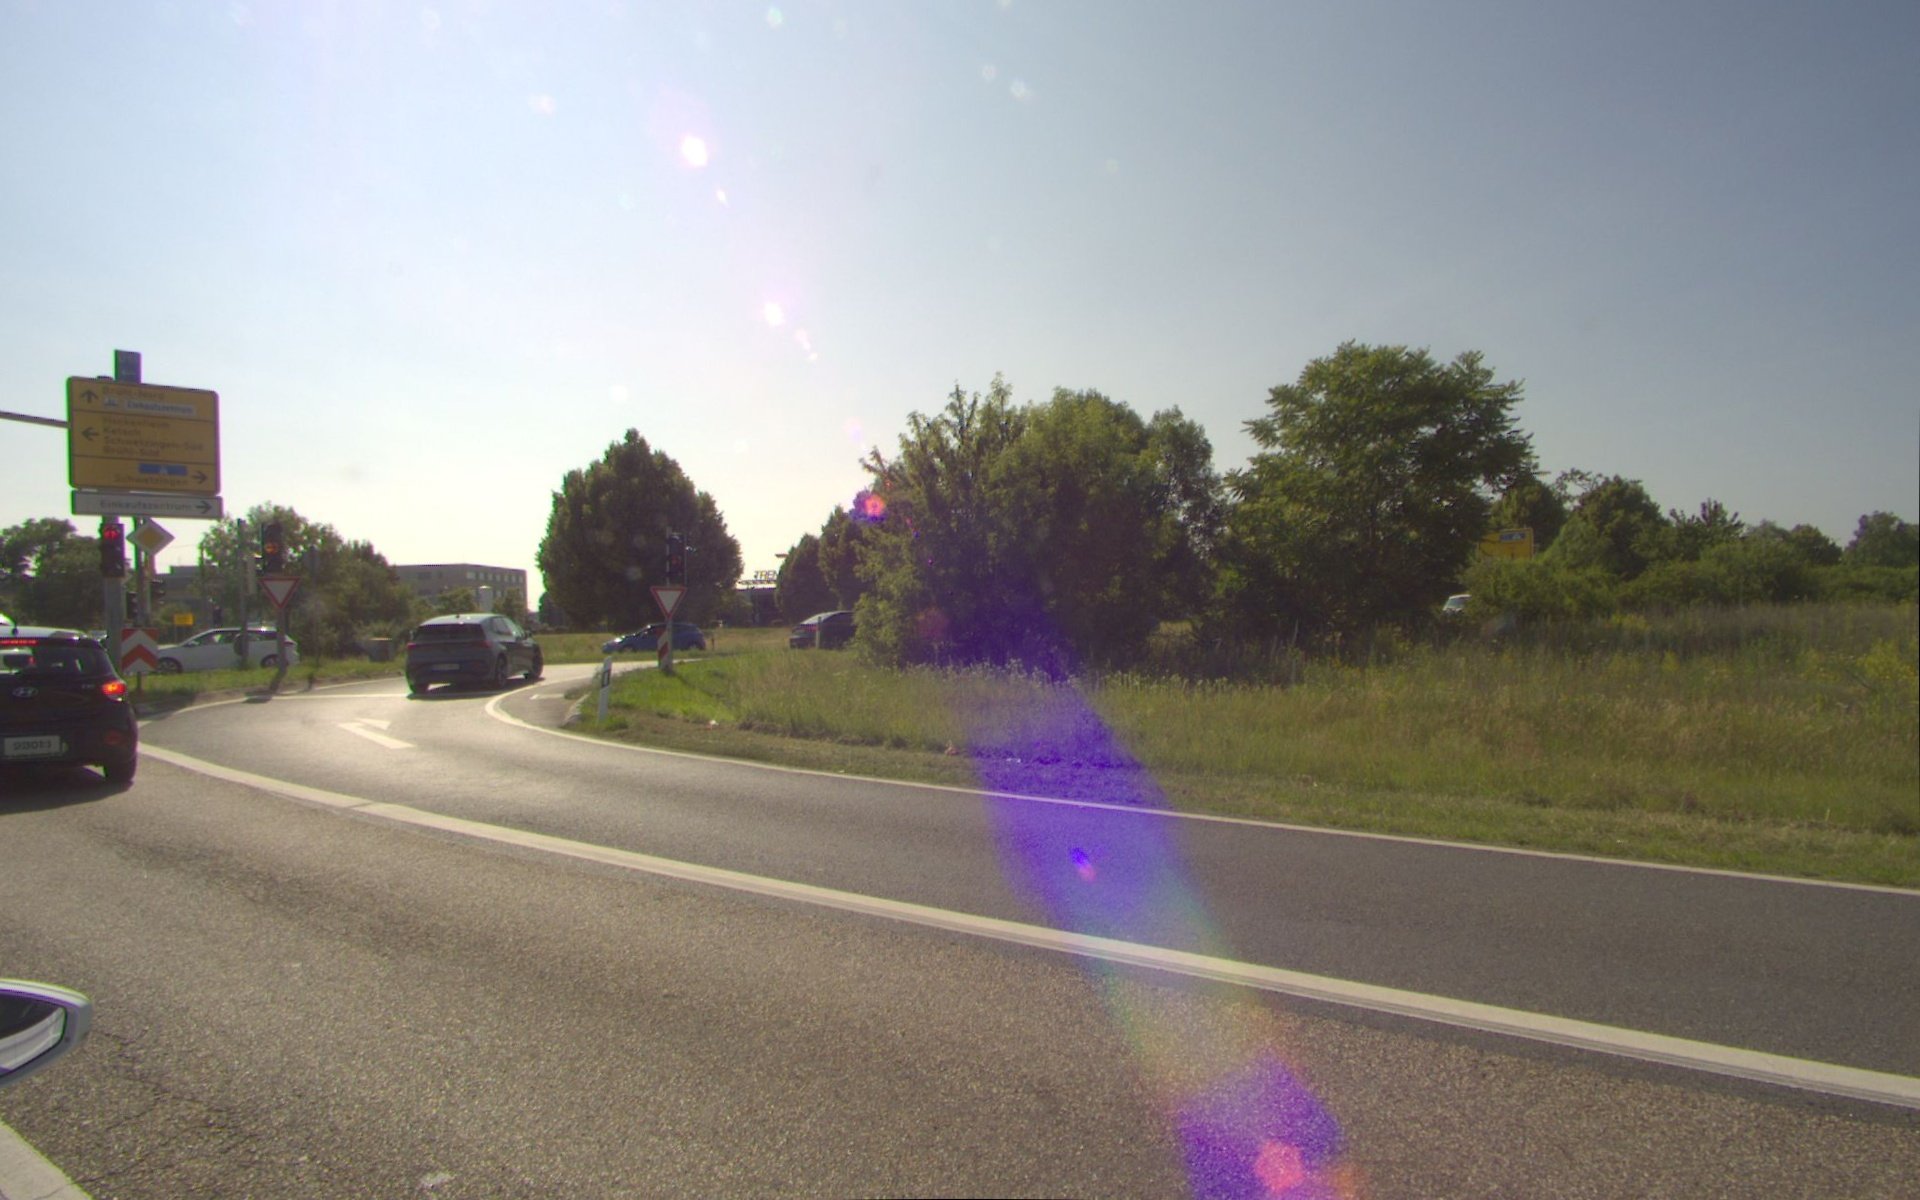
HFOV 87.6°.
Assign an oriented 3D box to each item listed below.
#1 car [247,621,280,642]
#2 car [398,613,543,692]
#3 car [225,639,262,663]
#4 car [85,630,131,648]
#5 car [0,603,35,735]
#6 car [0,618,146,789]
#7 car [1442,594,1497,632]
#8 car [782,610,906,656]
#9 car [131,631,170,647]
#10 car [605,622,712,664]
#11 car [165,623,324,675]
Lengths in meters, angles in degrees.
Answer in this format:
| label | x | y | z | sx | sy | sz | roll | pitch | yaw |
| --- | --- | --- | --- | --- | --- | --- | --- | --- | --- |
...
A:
| label | x | y | z | sx | sy | sz | roll | pitch | yaw |
| --- | --- | --- | --- | --- | --- | --- | --- | --- | --- |
| car | -62.383 | 2.827 | 89.758 | 1.694 | 1.842 | 3.765 | 1 | -2 | -24 |
| car | -10.431 | 1.052 | 21.658 | 1.745 | 1.537 | 4.097 | 0 | -1 | -10 |
| car | -51.781 | 3.656 | 72.408 | 1.857 | 1.694 | 3.750 | 1 | -2 | -31 |
| car | -75.152 | 3.444 | 88.396 | 1.686 | 1.568 | 3.607 | 1 | -2 | -15 |
| car | -14.033 | 0.911 | 13.652 | 3.705 | 1.698 | 1.626 | -1 | -2 | 40 |
| car | -9.385 | 0.924 | 9.784 | 3.256 | 1.467 | 1.626 | -1 | -2 | 40 |
| car | 34.432 | 0.925 | 67.664 | 3.850 | 2.467 | 1.455 | 1 | -2 | -30 |
| car | -3.809 | 1.044 | 33.356 | 3.960 | 1.404 | 1.630 | 0 | 0 | -44 |
| car | -82.405 | 3.985 | 102.003 | 1.685 | 1.568 | 3.608 | 1 | -2 | -13 |
| car | -12.161 | 1.692 | 40.411 | 3.822 | 1.539 | 1.799 | 0 | -1 | -29 |
| car | -21.673 | 1.454 | 30.506 | 3.861 | 1.484 | 1.712 | 0 | -1 | -34 |
